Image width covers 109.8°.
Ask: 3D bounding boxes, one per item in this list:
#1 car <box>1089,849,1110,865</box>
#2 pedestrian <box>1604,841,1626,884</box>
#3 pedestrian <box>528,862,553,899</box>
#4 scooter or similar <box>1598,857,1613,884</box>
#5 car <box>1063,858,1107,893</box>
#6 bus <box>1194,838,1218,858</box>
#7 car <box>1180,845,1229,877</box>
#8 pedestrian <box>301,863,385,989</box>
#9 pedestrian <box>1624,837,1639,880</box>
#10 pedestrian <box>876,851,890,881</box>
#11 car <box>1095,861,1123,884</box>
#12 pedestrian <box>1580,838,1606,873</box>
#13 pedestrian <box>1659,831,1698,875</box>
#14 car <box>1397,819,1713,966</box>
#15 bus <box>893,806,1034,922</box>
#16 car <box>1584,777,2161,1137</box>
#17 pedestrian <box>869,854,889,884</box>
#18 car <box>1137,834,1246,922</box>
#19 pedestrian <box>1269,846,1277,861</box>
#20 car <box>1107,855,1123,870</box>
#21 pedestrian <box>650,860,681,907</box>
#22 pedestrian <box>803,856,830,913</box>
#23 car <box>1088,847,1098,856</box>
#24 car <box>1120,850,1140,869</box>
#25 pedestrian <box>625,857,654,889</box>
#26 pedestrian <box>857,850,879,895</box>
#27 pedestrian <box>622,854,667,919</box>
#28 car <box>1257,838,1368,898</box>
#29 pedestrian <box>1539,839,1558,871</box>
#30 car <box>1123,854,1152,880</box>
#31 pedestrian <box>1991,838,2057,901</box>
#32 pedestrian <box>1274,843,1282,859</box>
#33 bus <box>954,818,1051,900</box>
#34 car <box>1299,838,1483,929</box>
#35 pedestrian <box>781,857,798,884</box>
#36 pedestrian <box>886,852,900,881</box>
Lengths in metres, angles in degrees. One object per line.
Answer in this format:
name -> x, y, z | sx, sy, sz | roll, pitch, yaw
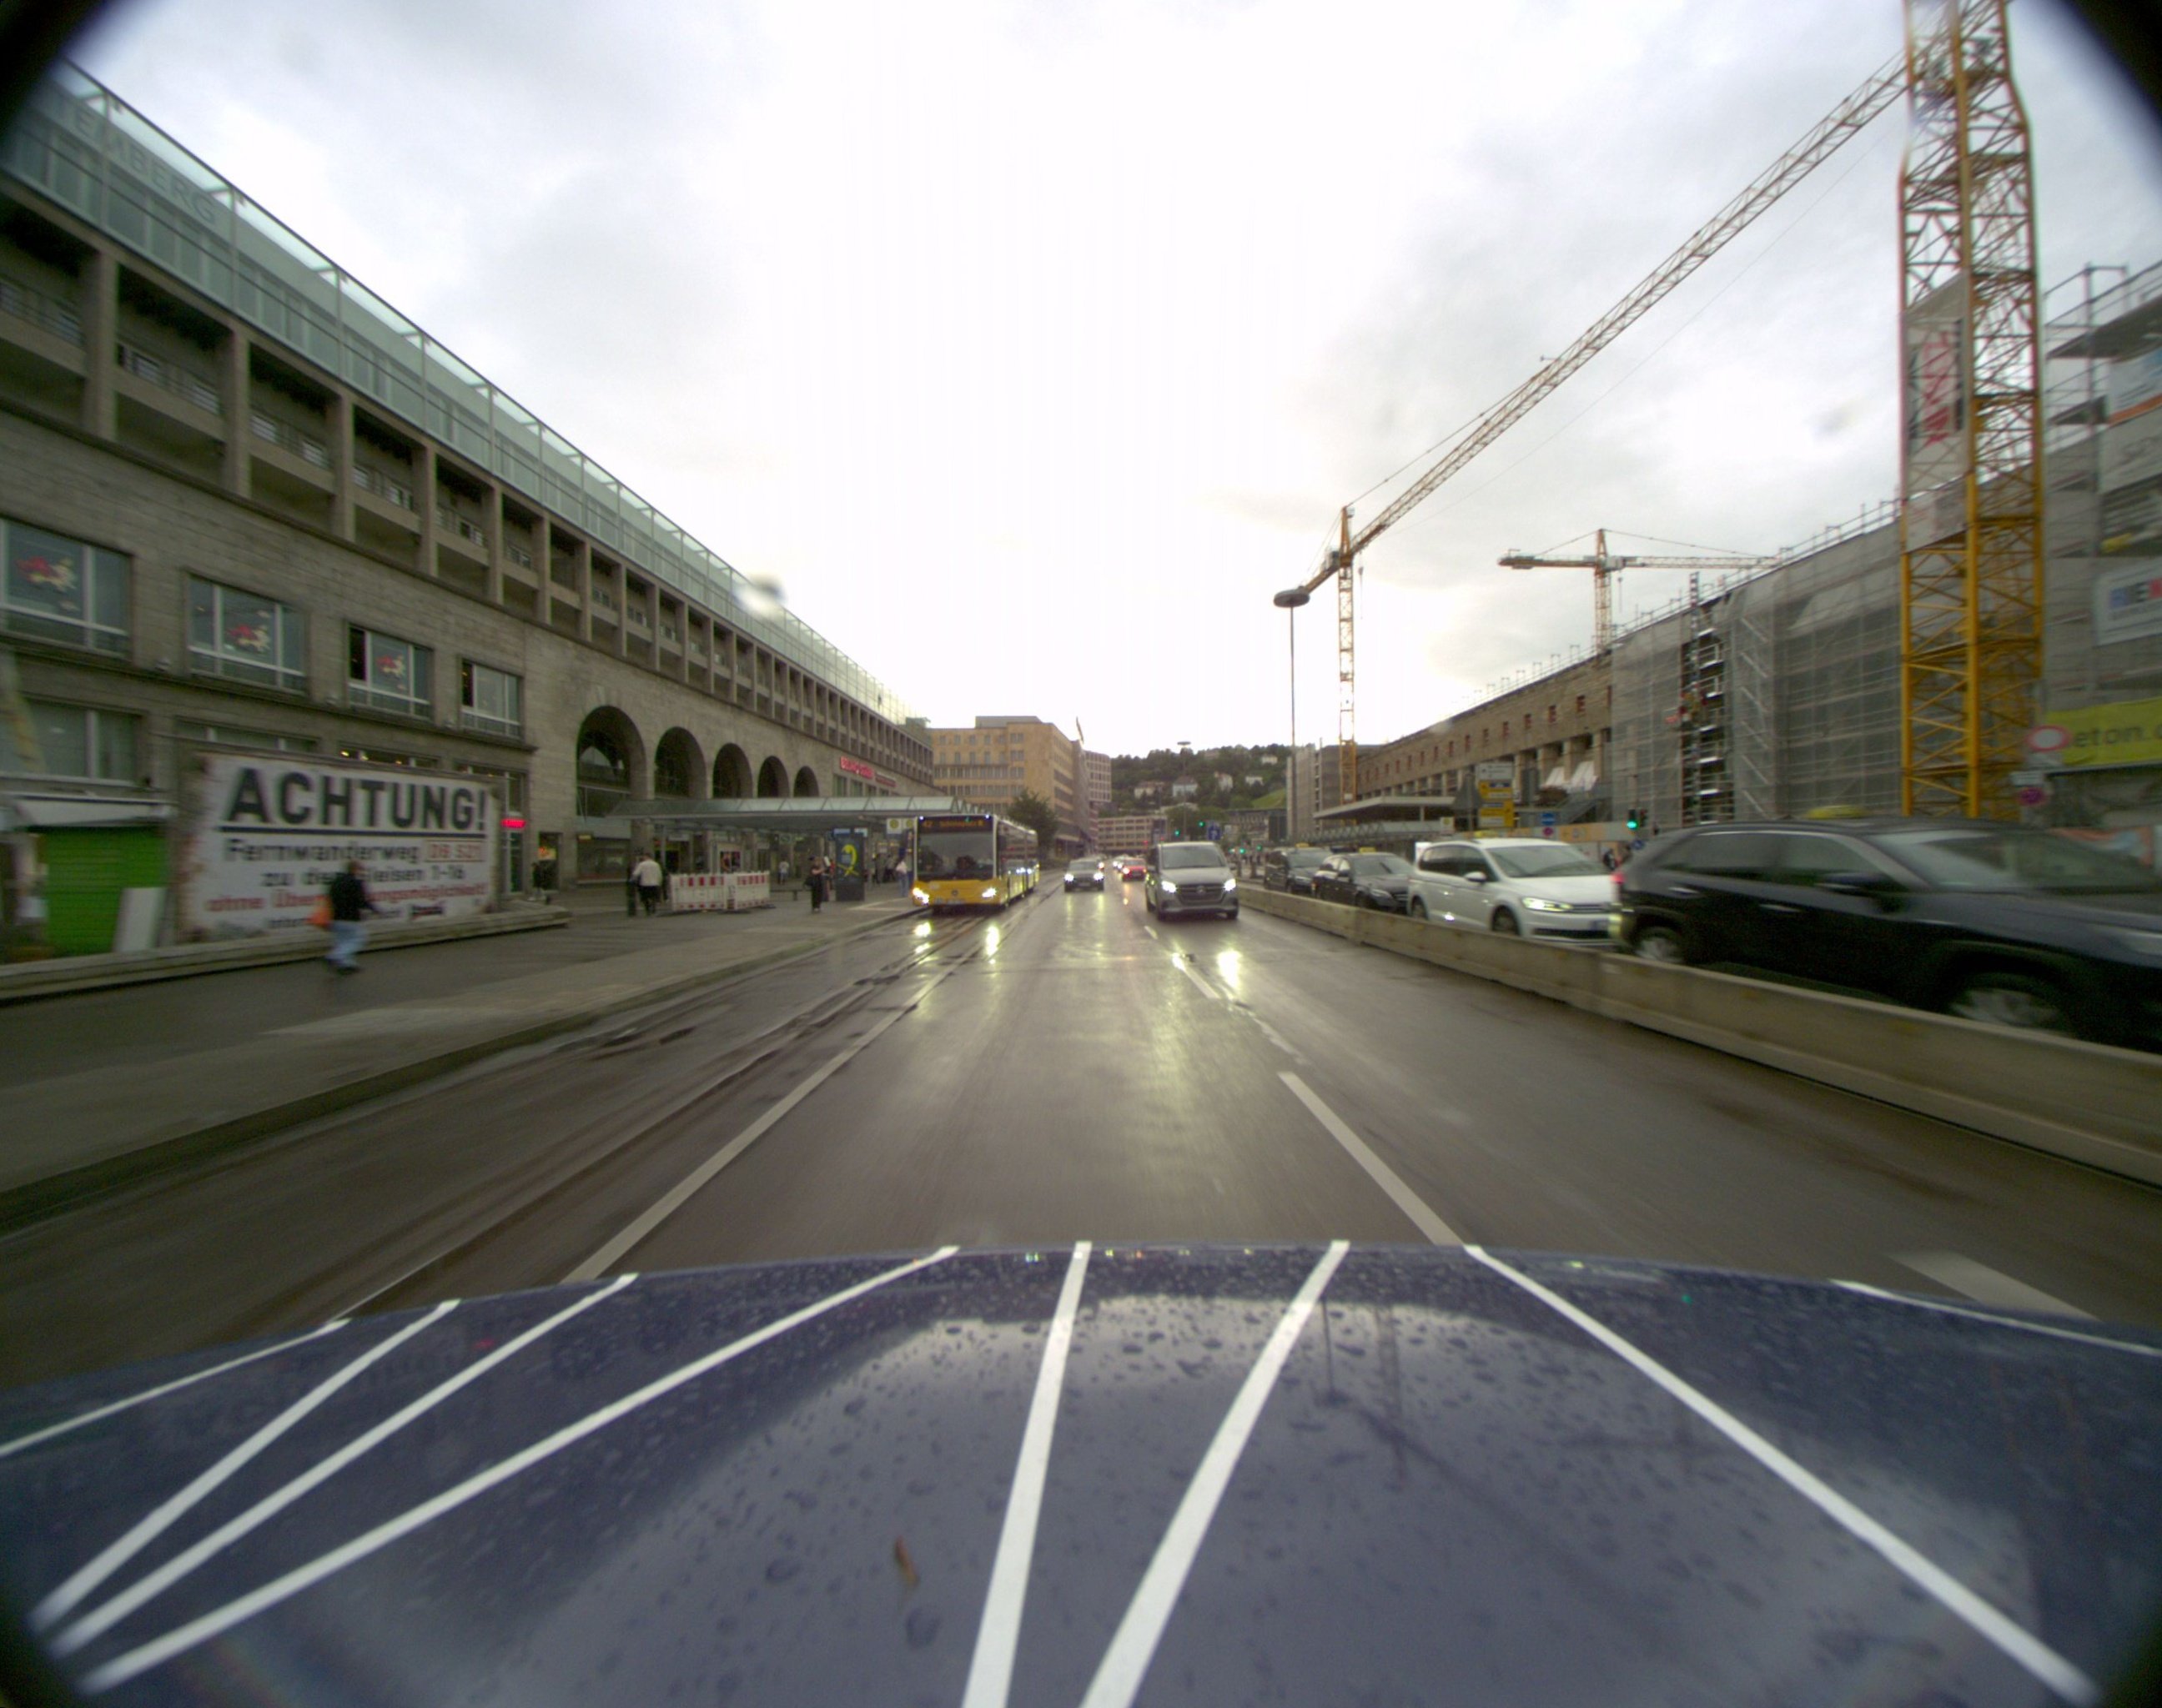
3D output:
car -> 1.932, 0.336, 78.034 | 1.998, 1.549, 3.909 | -1, 1, 3
pedestrian -> 23.323, 0.368, 33.219 | 0.702, 1.830, 0.879 | -1, 1, 31
pedestrian -> -22.450, 1.079, 31.544 | 0.690, 1.512, 0.589 | -1, 1, -23
scooter or similar -> 21.823, 0.677, 31.622 | 0.459, 1.060, 1.242 | -1, 1, 37
car -> 0.279, 0.995, 37.174 | 1.822, 1.455, 4.700 | -3, 0, 3
bus -> 24.024, -1.182, 146.774 | 2.916, 3.557, 19.082 | 0, 1, 5
car -> 6.970, 0.368, 43.274 | 1.998, 1.696, 4.832 | -1, 1, 0
pedestrian -> -9.798, 0.931, 10.091 | 0.652, 1.609, 0.502 | -1, 1, 16
pedestrian -> 23.546, 0.179, 32.501 | 0.339, 1.830, 0.510 | -1, 1, 18
pedestrian -> -12.880, 0.780, 49.351 | 0.596, 1.863, 0.592 | -1, 1, 35
car -> 2.041, 1.294, 54.361 | 1.876, 1.499, 4.165 | -1, 1, 3
pedestrian -> 27.283, 0.081, 40.488 | 0.804, 1.830, 0.868 | -1, 1, 6
pedestrian -> 25.457, -0.052, 32.371 | 0.841, 1.830, 1.058 | -1, 1, 6
car -> 6.733, 0.456, 11.530 | 1.999, 1.776, 4.453 | -1, 1, 0
bus -> -3.609, 0.226, 26.159 | 3.121, 3.186, 9.241 | -2, 1, 1
car -> 6.333, 0.480, 5.656 | 1.998, 1.776, 4.847 | -1, 1, 1
pedestrian -> -11.368, 0.832, 42.751 | 0.750, 1.685, 0.902 | -1, 1, 5
car -> 2.685, 0.519, 19.711 | 1.998, 1.893, 5.250 | -3, 0, 0
pedestrian -> 23.007, -0.093, 90.949 | 0.726, 1.780, 0.747 | -2, 1, -3
car -> 4.290, 1.025, 95.862 | 1.872, 1.715, 3.902 | -2, 1, 2
pedestrian -> -16.134, 1.132, 29.513 | 0.994, 1.782, 0.787 | -1, 1, -27
pedestrian -> -7.686, 0.870, 22.128 | 0.595, 1.609, 0.511 | -2, 1, -9
car -> 2.597, -0.544, 162.518 | 1.998, 1.873, 4.997 | -1, 1, 3
car -> 4.858, 0.562, 75.844 | 1.872, 1.747, 3.901 | -2, 1, 2
pedestrian -> -22.441, 0.969, 38.638 | 0.786, 1.580, 0.994 | 0, 1, 38
pedestrian -> -9.373, 0.810, 33.439 | 0.795, 1.918, 0.705 | -1, 1, -9
pedestrian -> -12.359, 0.900, 21.518 | 0.733, 1.782, 0.757 | -1, 1, 16
car -> 6.894, 0.364, 23.209 | 1.998, 1.644, 4.641 | -1, 1, 0
pedestrian -> 27.786, 0.055, 45.185 | 0.723, 1.830, 0.612 | -1, 1, 6
car -> 3.571, 0.787, 48.425 | 1.709, 1.485, 3.670 | -2, 1, 3
pedestrian -> 24.601, 0.393, 19.833 | 0.678, 1.604, 0.839 | -1, 1, 4
pedestrian -> 22.971, -0.356, 88.518 | 0.776, 1.780, 0.861 | -1, 1, 9
bus -> -3.346, 0.127, 35.321 | 3.149, 3.229, 9.135 | -2, 1, 2
car -> 6.626, 0.549, 16.964 | 2.054, 1.701, 5.054 | -1, 1, 0
pedestrian -> -18.288, 1.024, 47.673 | 0.795, 1.609, 0.870 | -1, 1, -9
pedestrian -> -12.165, 0.831, 49.104 | 0.608, 1.849, 0.625 | -1, 1, 11
